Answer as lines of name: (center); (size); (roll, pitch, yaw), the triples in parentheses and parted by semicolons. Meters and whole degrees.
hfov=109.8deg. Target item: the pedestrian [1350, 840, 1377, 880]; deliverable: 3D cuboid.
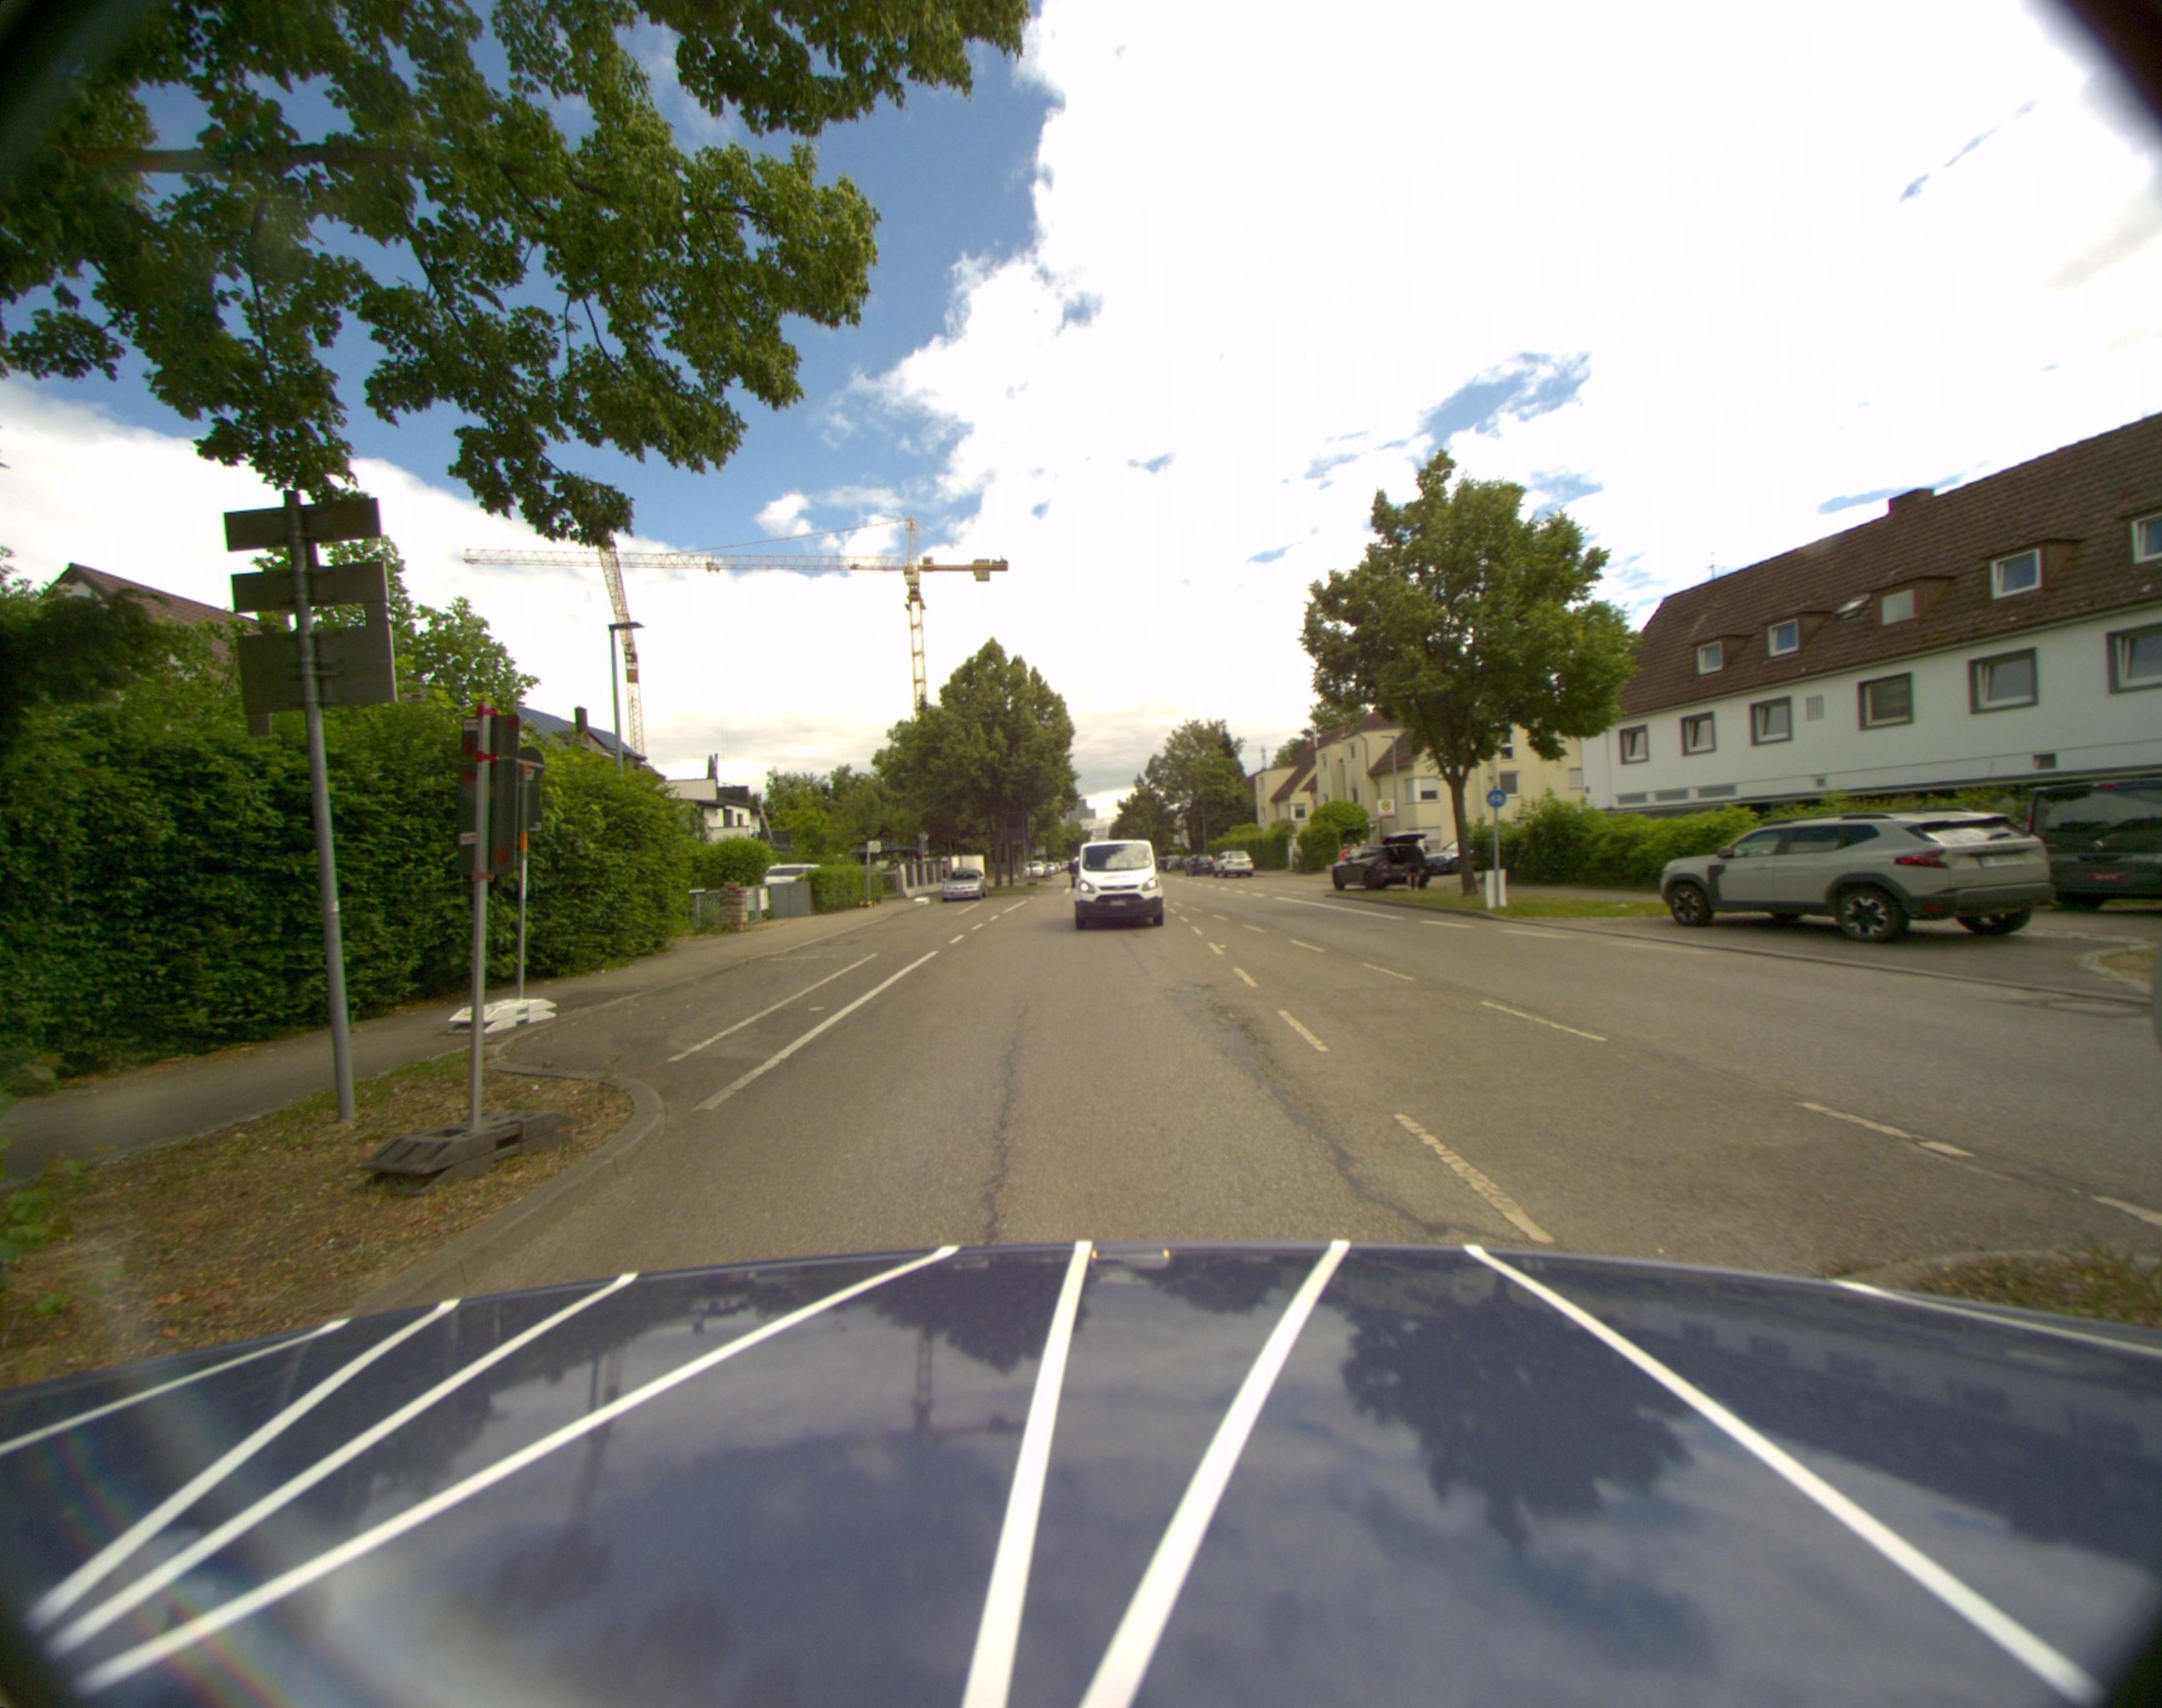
pedestrian: (12.443, 0.265, 33.479); (0.789, 1.654, 0.591); (-6, 1, -2)

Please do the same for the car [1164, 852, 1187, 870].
car: (9.197, 0.668, 74.325); (1.722, 1.603, 3.910); (-2, 0, 0)

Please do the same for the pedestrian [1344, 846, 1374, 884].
pedestrian: (12.780, 0.514, 34.959); (0.789, 1.654, 0.881); (-7, 1, -7)

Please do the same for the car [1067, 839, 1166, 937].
car: (0.862, 0.693, 18.699); (1.998, 2.002, 5.189); (-3, 1, 2)

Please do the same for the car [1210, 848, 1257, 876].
car: (9.774, 0.511, 49.002); (1.825, 1.624, 4.585); (-2, 0, -3)

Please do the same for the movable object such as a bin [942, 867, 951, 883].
movable object such as a bin: (-8.554, 1.338, 48.208); (0.437, 1.016, 0.454); (-3, 0, 1)

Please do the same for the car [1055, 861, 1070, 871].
car: (-2.887, 1.815, 118.208); (1.863, 1.405, 4.444); (-5, -1, 2)

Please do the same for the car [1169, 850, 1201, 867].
car: (9.344, 0.406, 68.662); (1.999, 1.476, 4.889); (-2, 0, -3)

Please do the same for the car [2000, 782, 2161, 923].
car: (16.391, -0.116, 10.886); (3.997, 1.880, 2.000); (-3, 0, 0)

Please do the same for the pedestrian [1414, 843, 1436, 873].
pedestrian: (15.321, 0.164, 33.860); (0.589, 1.305, 0.706); (-3, 0, 1)

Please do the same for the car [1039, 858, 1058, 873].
car: (-3.874, 1.368, 91.942); (1.866, 1.601, 4.686); (-4, 0, 1)

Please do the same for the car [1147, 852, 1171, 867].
car: (9.060, 0.685, 88.254); (2.100, 1.637, 5.038); (-2, 0, -2)

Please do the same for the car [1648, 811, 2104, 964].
car: (10.734, 0.382, 10.859); (1.866, 1.644, 4.293); (-3, 0, -2)

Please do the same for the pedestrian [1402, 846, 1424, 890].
pedestrian: (10.842, 0.464, 24.824); (0.553, 1.427, 0.497); (-2, -1, 31)

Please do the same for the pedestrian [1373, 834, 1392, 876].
pedestrian: (13.229, 0.036, 33.331); (0.505, 1.795, 0.671); (-3, 0, 0)

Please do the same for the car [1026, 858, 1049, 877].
car: (-4.126, 1.252, 72.323); (1.905, 1.633, 4.116); (-3, 0, 0)

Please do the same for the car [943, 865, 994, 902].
car: (-5.158, 1.323, 35.273); (1.616, 1.369, 4.386); (-3, 1, 0)

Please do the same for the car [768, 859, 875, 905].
car: (-11.495, 1.214, 33.865); (3.998, 1.812, 1.999); (-3, 0, -2)

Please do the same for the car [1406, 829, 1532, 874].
car: (16.347, -0.101, 32.064); (4.530, 1.544, 2.033); (-4, 1, -17)

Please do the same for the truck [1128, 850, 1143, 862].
truck: (9.884, 0.410, 138.231); (2.429, 2.031, 5.995); (-3, 0, 2)

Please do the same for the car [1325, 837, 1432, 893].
car: (10.475, 0.369, 27.156); (1.729, 1.714, 4.563); (-3, 0, -3)

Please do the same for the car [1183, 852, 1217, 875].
car: (8.739, 0.659, 56.063); (1.681, 1.543, 4.272); (-3, 0, -2)

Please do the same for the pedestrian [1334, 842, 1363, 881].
pedestrian: (12.103, 0.335, 34.406); (0.789, 1.654, 0.754); (-7, 1, -7)
